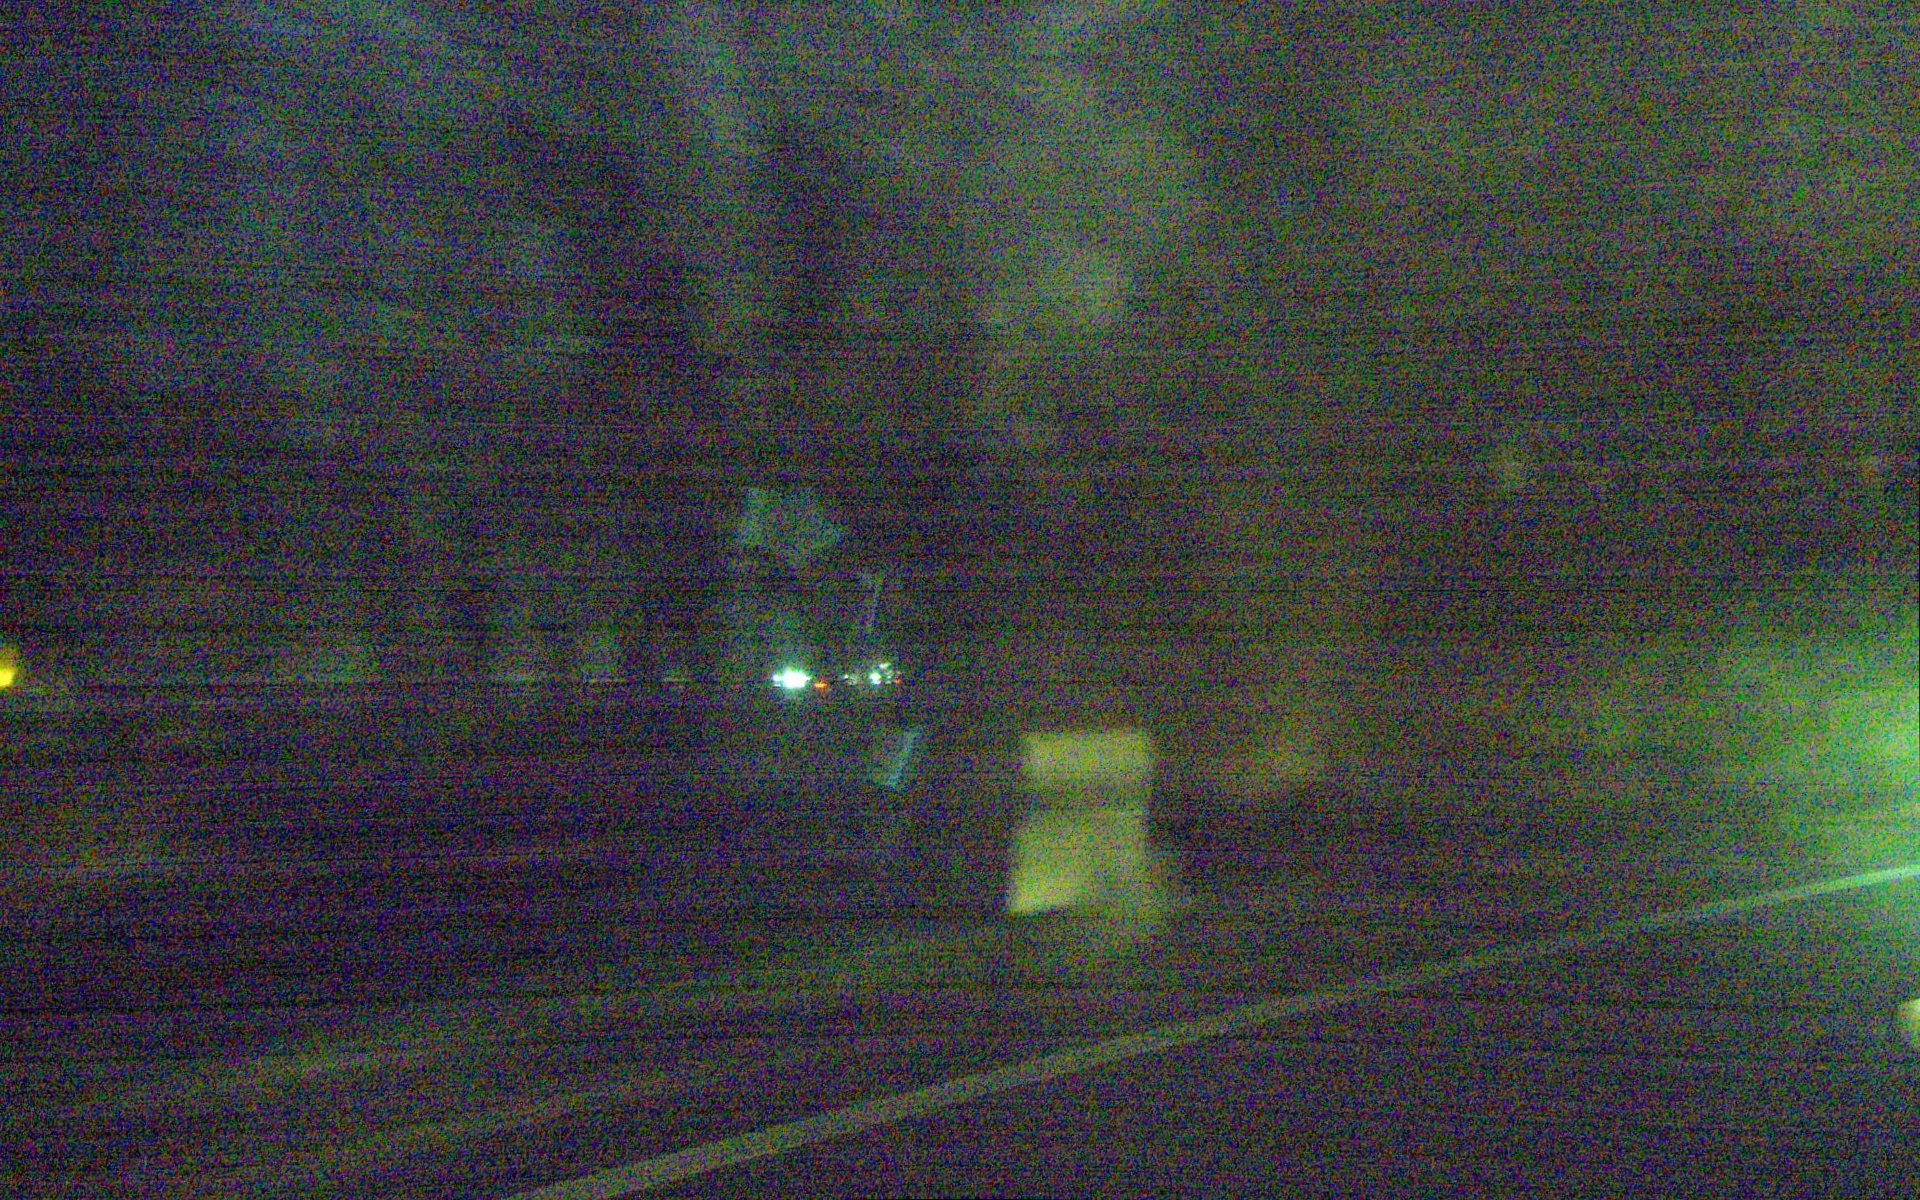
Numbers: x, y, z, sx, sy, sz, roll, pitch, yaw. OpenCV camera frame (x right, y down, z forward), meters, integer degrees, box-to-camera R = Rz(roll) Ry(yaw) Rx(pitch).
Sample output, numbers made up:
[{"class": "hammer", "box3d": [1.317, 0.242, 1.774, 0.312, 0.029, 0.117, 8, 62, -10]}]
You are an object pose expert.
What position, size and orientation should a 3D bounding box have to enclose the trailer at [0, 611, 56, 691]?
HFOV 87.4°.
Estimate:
[{"class": "trailer", "box3d": [-35.419, 1.316, 30.178, 1.960, 2.763, 13.026, 1, -5, 16]}]
